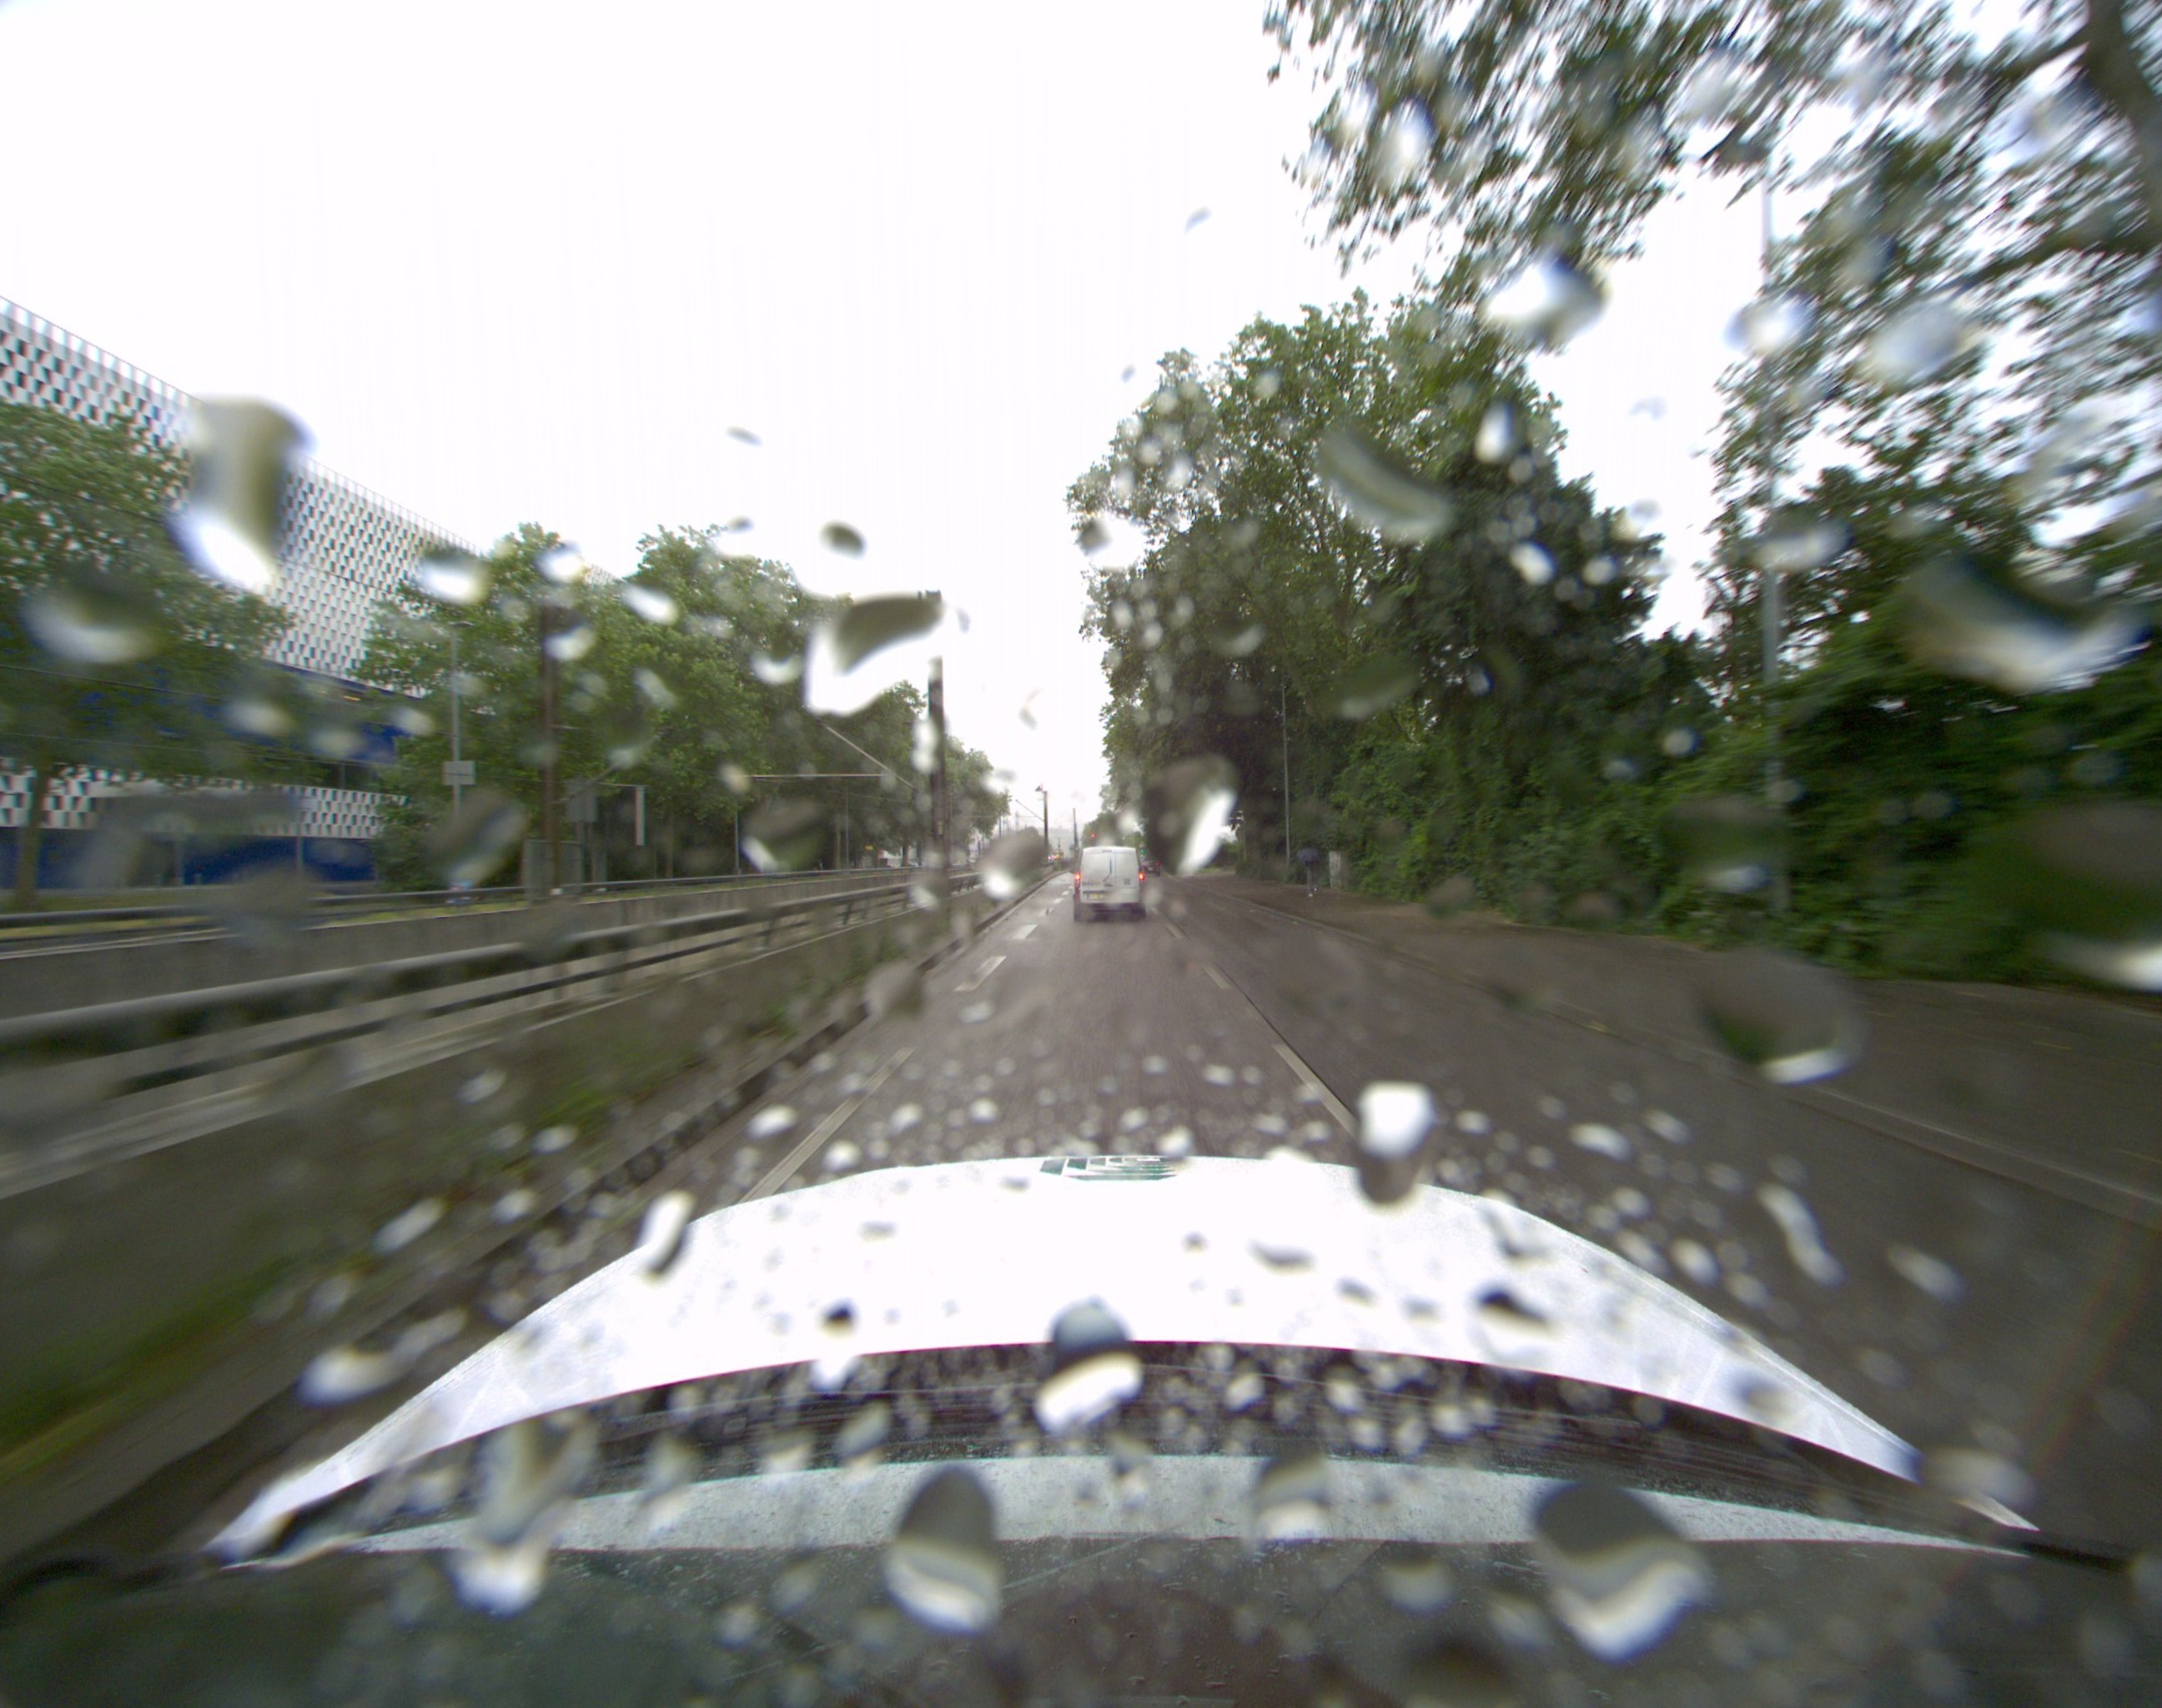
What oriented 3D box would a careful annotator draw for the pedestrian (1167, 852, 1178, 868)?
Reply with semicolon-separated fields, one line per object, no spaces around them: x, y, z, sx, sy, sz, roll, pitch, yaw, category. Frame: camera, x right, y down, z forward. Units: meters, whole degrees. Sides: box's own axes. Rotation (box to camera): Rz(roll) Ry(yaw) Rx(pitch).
9.300;0.605;82.957;0.943;1.589;1.295;-2;0;3;pedestrian

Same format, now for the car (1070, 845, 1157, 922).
0.760;0.684;21.034;2.018;1.775;4.273;0;0;0;car

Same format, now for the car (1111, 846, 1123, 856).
6.256;-0.564;141.988;1.986;1.750;4.001;0;0;2;car

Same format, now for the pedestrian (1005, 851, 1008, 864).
-11.911;0.583;130.418;0.493;2.014;0.580;0;0;-12;pedestrian

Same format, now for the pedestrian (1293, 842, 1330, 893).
7.739;0.450;27.403;0.963;1.702;1.141;0;0;1;pedestrian

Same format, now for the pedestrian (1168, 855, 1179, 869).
9.202;0.776;80.909;0.888;1.390;1.017;-3;-1;3;pedestrian

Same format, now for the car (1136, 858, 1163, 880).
5.423;1.170;64.874;1.985;1.750;4.003;0;0;2;car

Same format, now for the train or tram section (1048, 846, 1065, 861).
-7.054;-0.054;239.329;3.757;4.036;27.091;0;0;0;train or tram section
